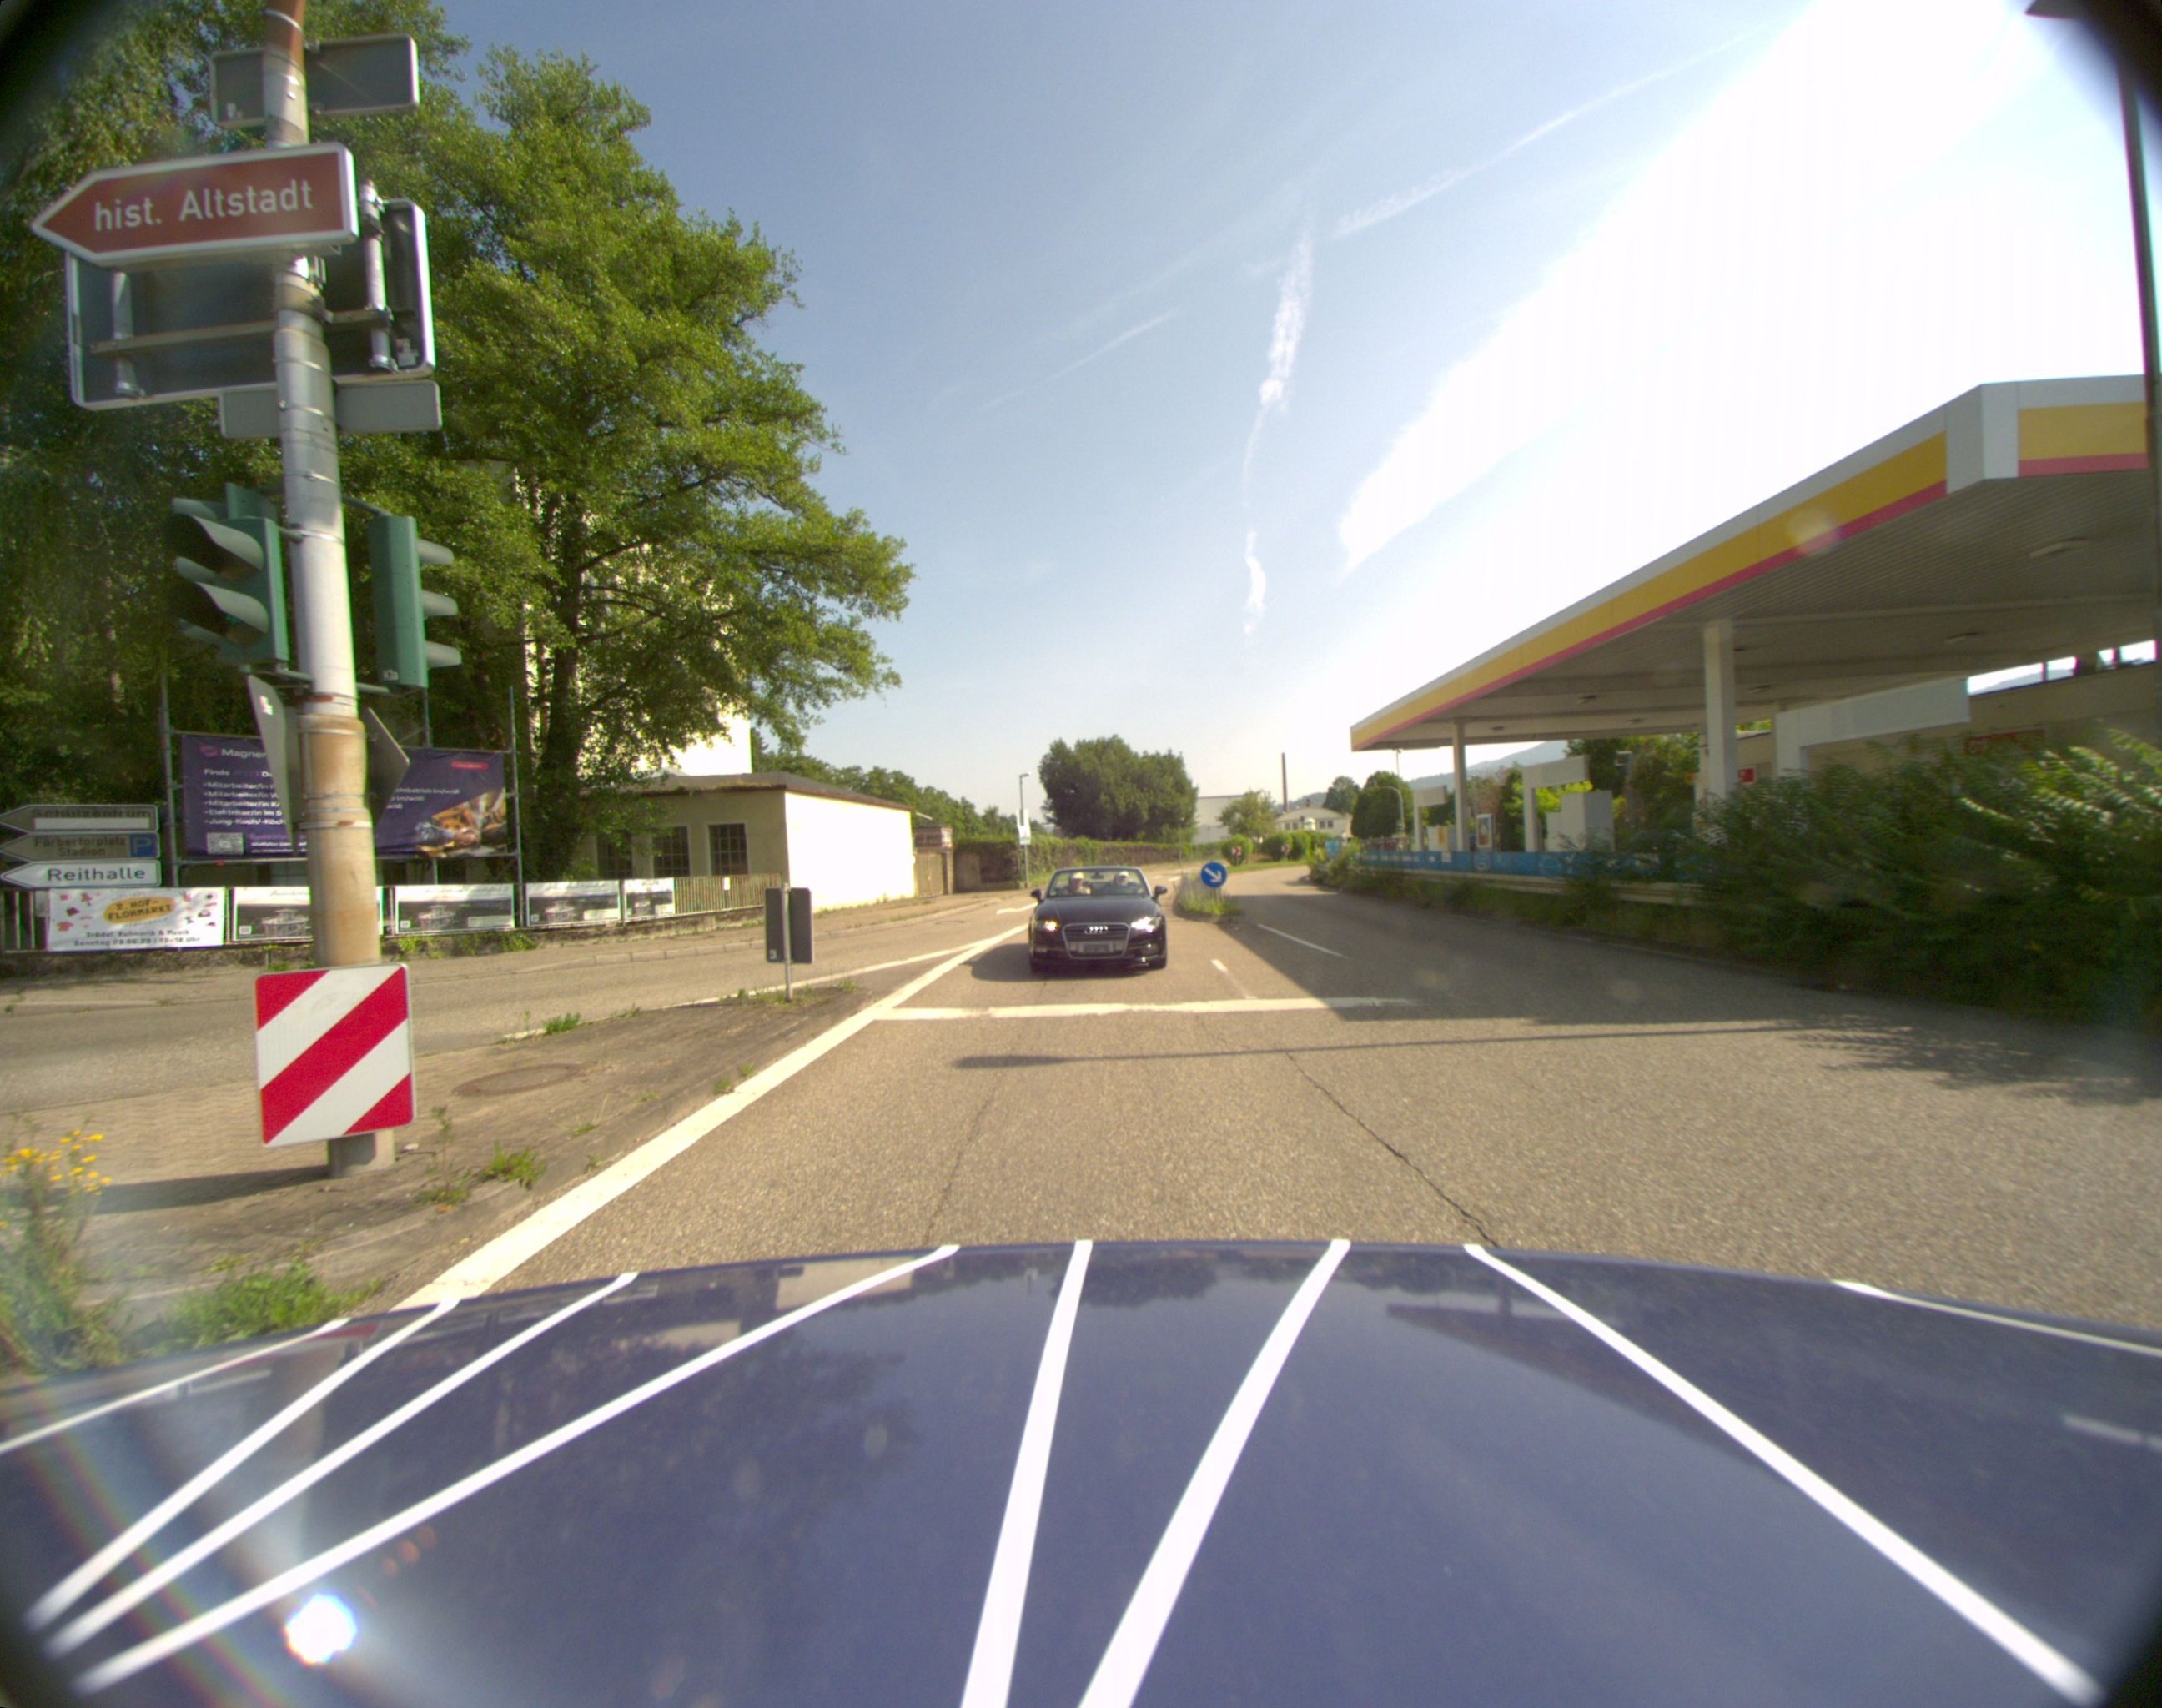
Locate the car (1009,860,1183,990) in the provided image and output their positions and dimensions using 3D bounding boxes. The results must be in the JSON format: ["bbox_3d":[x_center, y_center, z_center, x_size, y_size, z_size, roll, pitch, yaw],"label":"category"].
[{"bbox_3d":[0.293,0.807,10.502,1.868,1.323,4.233,-2,0,4],"label":"car"}]

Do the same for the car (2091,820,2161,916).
[{"bbox_3d":[16.574,0.204,9.796,1.631,1.403,4.228,-2,1,4],"label":"car"}]
